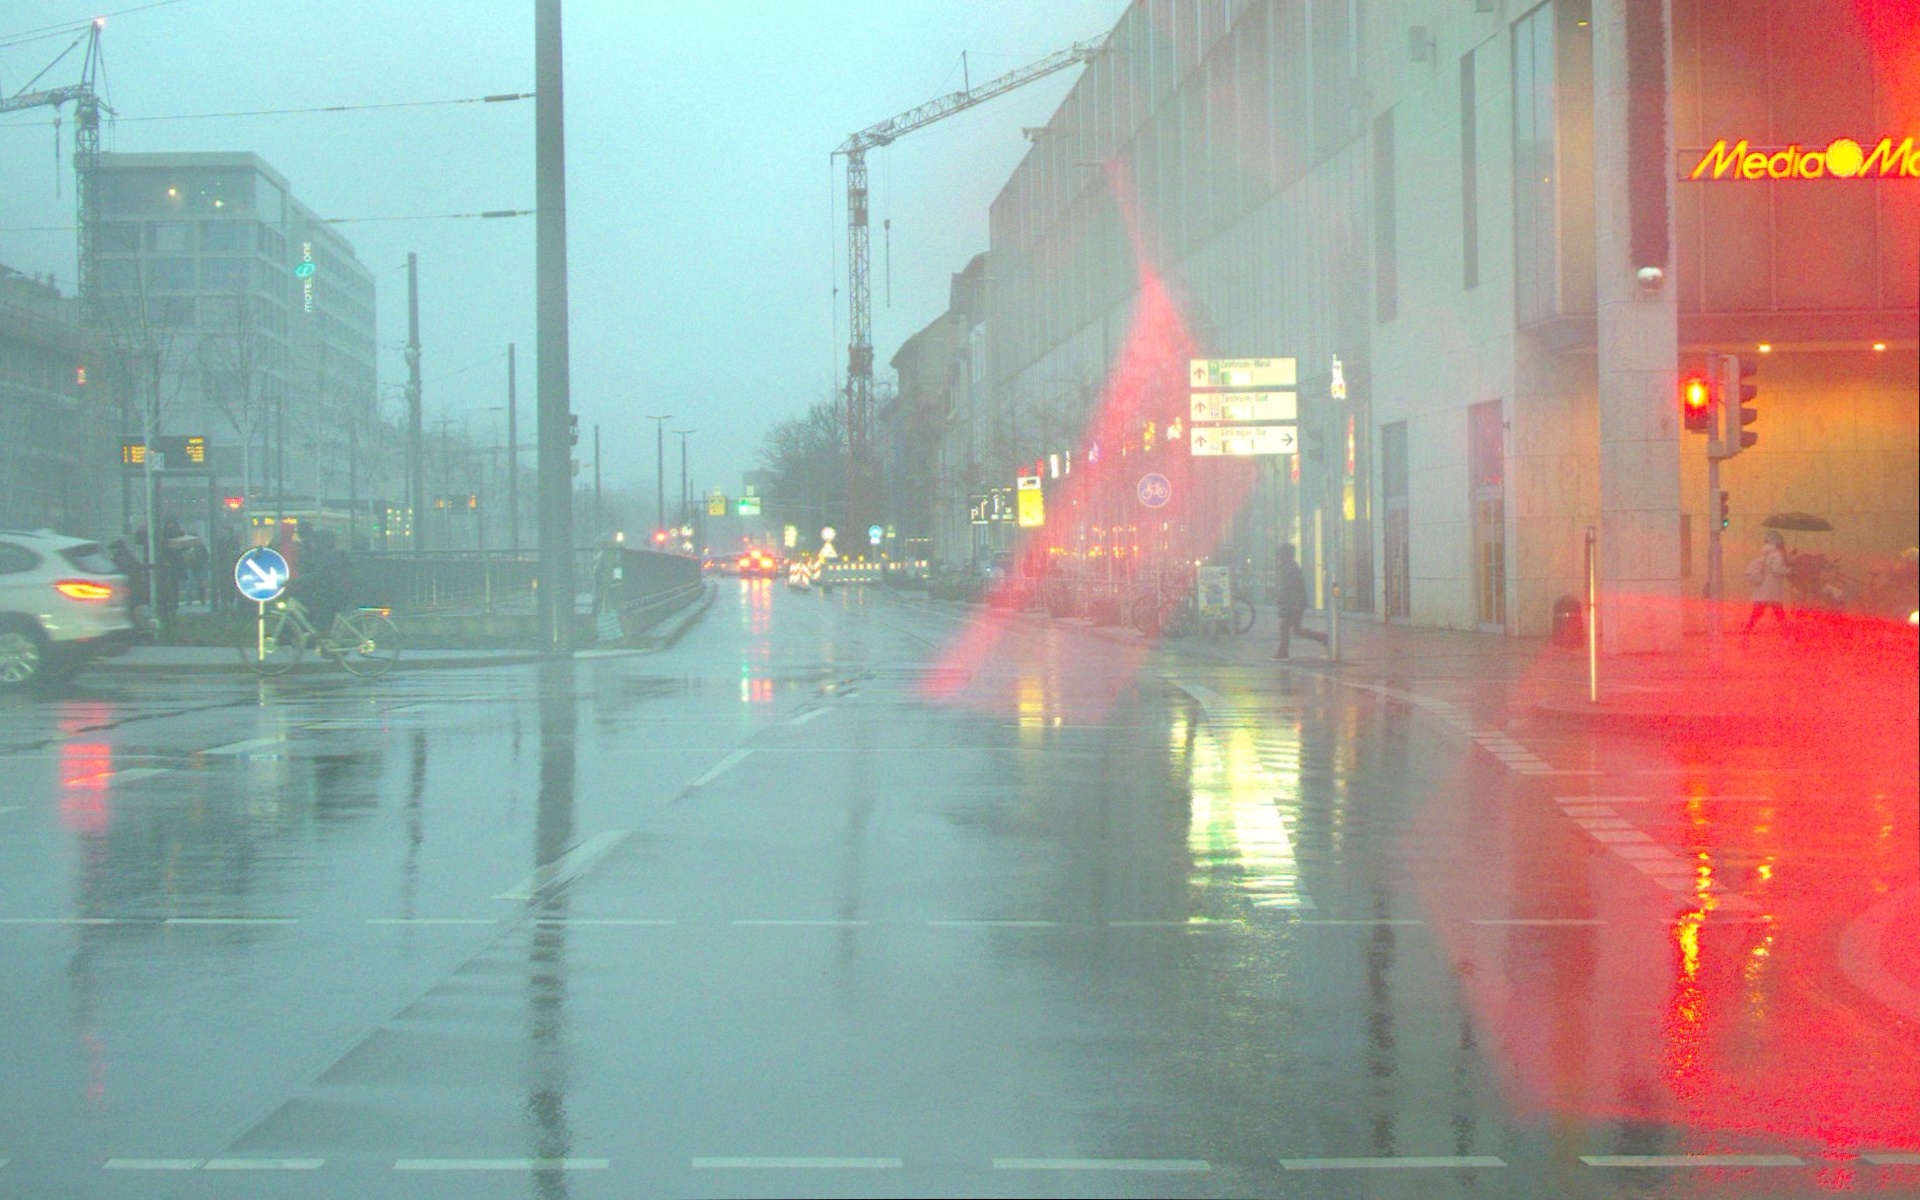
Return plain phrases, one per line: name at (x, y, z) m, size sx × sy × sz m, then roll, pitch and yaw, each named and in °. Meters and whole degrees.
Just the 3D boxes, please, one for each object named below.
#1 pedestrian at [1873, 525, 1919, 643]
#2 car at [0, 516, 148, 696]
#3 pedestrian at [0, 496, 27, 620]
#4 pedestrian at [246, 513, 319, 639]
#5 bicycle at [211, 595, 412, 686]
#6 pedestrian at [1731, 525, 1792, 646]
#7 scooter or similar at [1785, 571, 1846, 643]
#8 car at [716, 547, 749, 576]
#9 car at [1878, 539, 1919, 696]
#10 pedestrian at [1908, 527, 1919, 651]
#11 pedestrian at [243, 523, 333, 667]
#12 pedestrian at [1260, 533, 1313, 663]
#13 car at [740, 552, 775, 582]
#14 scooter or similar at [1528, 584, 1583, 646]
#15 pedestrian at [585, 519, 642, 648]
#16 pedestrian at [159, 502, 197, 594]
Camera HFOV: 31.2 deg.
pedestrian at (13.718, -0.229, 50.272) m, size 0.536 × 1.712 × 0.501 m, roll 0°, pitch 1°, yaw 37°
car at (-10.540, 0.069, 34.650) m, size 4.302 × 1.755 × 1.707 m, roll -1°, pitch 1°, yaw -1°
pedestrian at (-13.553, -0.593, 48.516) m, size 0.619 × 1.740 × 0.613 m, roll -1°, pitch 1°, yaw -6°
pedestrian at (-9.144, -0.322, 46.411) m, size 0.831 × 1.673 × 0.619 m, roll -1°, pitch 1°, yaw 1°
bicycle at (-7.183, 0.457, 38.116) m, size 2.129 × 0.988 × 0.541 m, roll 0°, pitch -1°, yaw 6°
pedestrian at (11.115, -0.206, 47.684) m, size 0.741 × 1.661 × 0.400 m, roll -1°, pitch 1°, yaw 0°
scooter or similar at (11.866, 0.095, 47.685) m, size 0.741 × 0.990 × 0.400 m, roll -1°, pitch 1°, yaw 0°
car at (-14.598, -2.466, 220.666) m, size 1.888 × 1.777 × 3.714 m, roll 1°, pitch 0°, yaw -1°
car at (11.816, 0.135, 35.050) m, size 4.538 × 1.568 × 1.796 m, roll -1°, pitch 1°, yaw 7°
pedestrian at (13.925, -0.163, 48.828) m, size 0.702 × 1.754 × 0.667 m, roll -1°, pitch 1°, yaw -1°
pedestrian at (-7.454, -0.059, 38.144) m, size 0.815 × 1.564 × 0.536 m, roll -1°, pitch 2°, yaw 7°
pedestrian at (4.461, -0.029, 46.985) m, size 0.633 × 1.766 × 0.484 m, roll -1°, pitch 1°, yaw -2°
car at (-12.255, -1.997, 208.288) m, size 1.888 × 1.777 × 3.714 m, roll 1°, pitch 0°, yaw -1°
scooter or similar at (8.878, 0.224, 51.283) m, size 0.741 × 0.913 × 0.400 m, roll -1°, pitch 1°, yaw 1°
pedestrian at (-4.792, -0.231, 47.519) m, size 0.703 × 1.754 × 0.652 m, roll -1°, pitch 1°, yaw -1°
pedestrian at (-15.034, -0.995, 66.085) m, size 0.660 × 1.740 × 0.736 m, roll -1°, pitch 1°, yaw -11°
